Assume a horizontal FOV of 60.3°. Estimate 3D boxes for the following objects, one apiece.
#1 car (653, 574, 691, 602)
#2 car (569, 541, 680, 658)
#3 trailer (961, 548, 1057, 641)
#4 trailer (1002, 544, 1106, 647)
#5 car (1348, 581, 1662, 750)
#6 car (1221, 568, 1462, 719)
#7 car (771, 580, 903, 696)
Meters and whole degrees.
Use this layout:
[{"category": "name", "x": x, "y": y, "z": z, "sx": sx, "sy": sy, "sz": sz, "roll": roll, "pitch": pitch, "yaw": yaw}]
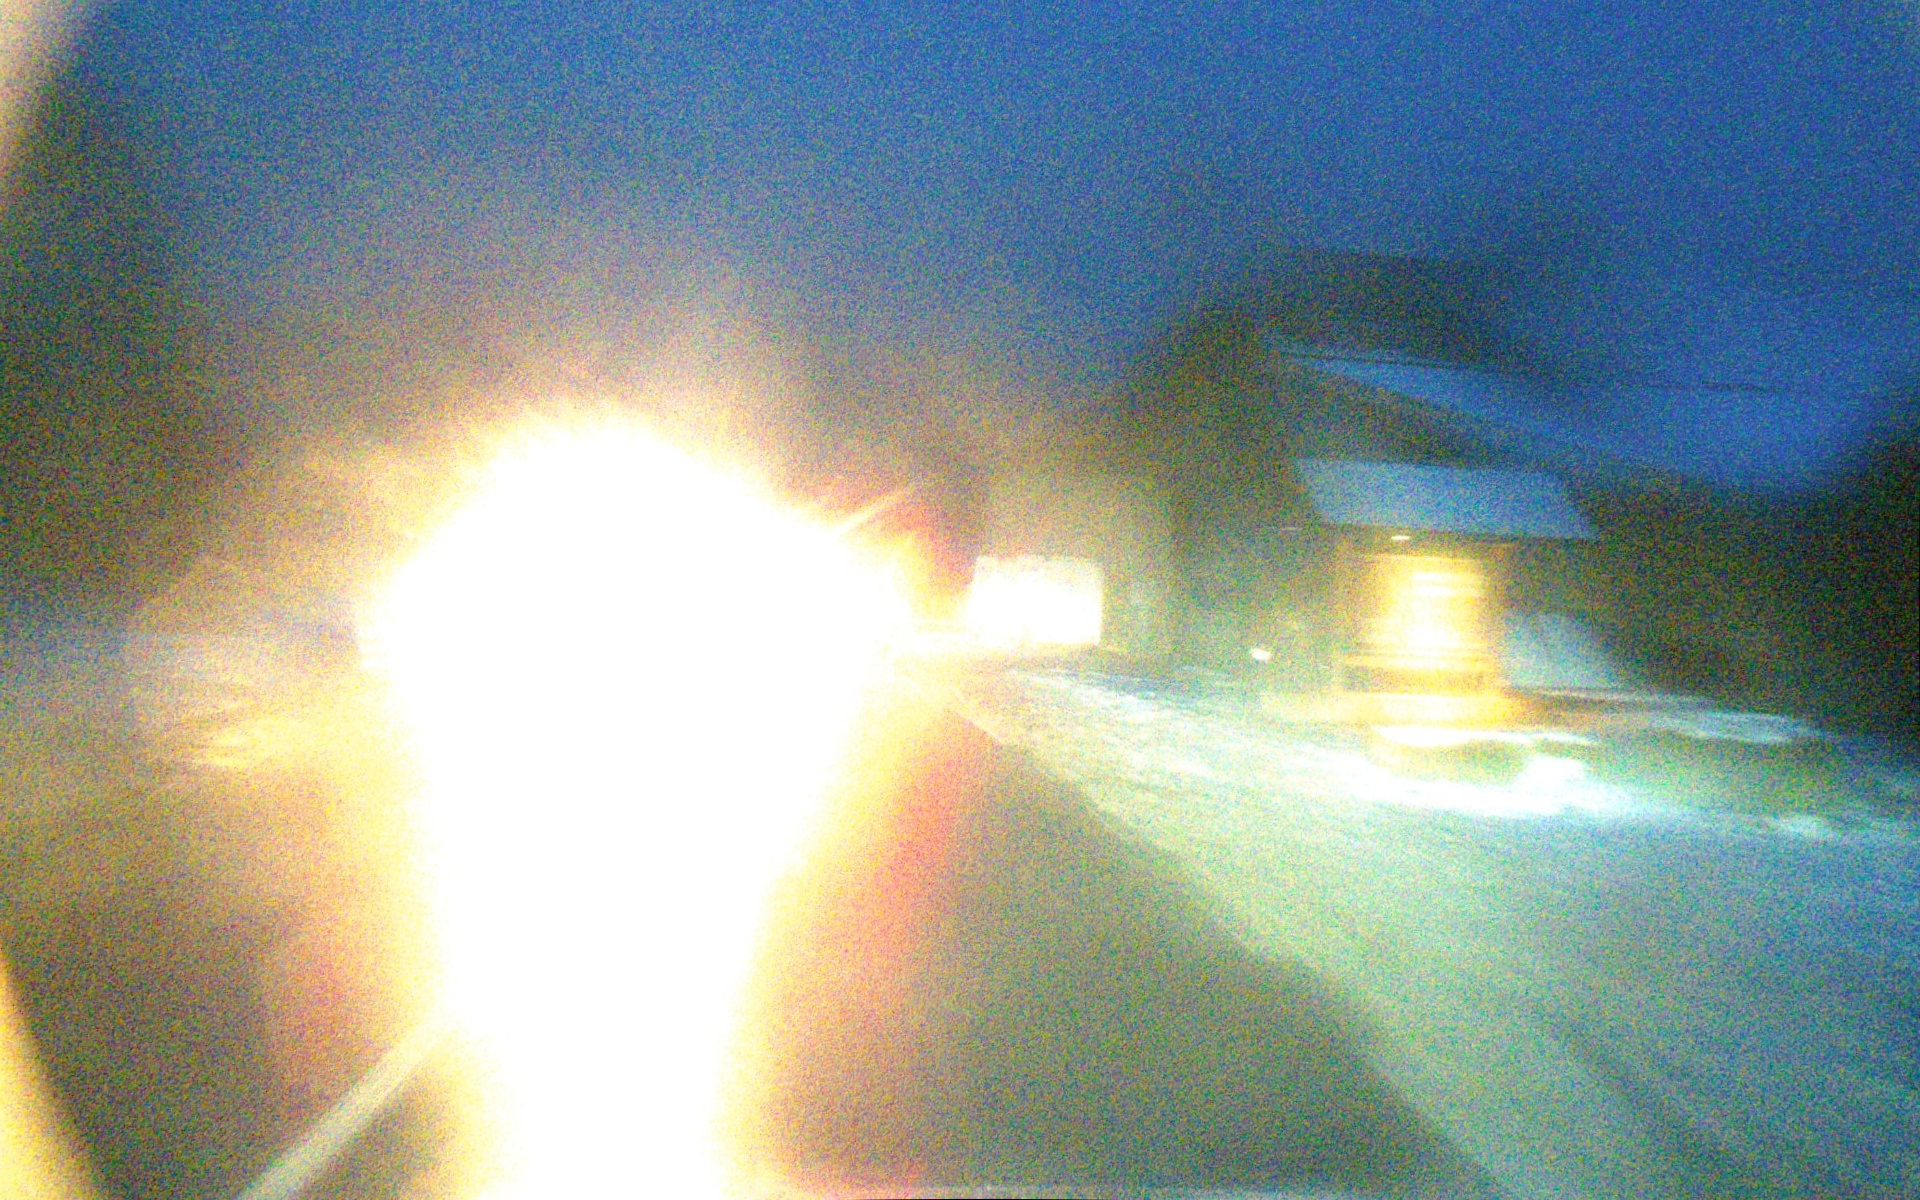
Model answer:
[{"category": "car", "x": -15.857, "y": -0.659, "z": 91.151, "sx": 1.957, "sy": 1.485, "sz": 4.887, "roll": 1, "pitch": 0, "yaw": -10}, {"category": "car", "x": -6.722, "y": -0.027, "z": 33.551, "sx": 1.883, "sy": 2.092, "sz": 4.877, "roll": 3, "pitch": 0, "yaw": -9}, {"category": "trailer", "x": 1.331, "y": -0.194, "z": 47.356, "sx": 1.601, "sy": 2.405, "sz": 4.641, "roll": 4, "pitch": 0, "yaw": -11}, {"category": "trailer", "x": 2.362, "y": -0.133, "z": 42.660, "sx": 1.576, "sy": 2.392, "sz": 4.421, "roll": 4, "pitch": 0, "yaw": -10}, {"category": "car", "x": 6.725, "y": 0.737, "z": 20.926, "sx": 1.846, "sy": 1.841, "sz": 4.142, "roll": 3, "pitch": 0, "yaw": -13}, {"category": "car", "x": 5.821, "y": 0.607, "z": 25.824, "sx": 1.846, "sy": 2.075, "sz": 4.376, "roll": 3, "pitch": 0, "yaw": -13}, {"category": "car", "x": -2.060, "y": 0.558, "z": 26.866, "sx": 1.768, "sy": 1.657, "sz": 3.607, "roll": 3, "pitch": 1, "yaw": -10}]
